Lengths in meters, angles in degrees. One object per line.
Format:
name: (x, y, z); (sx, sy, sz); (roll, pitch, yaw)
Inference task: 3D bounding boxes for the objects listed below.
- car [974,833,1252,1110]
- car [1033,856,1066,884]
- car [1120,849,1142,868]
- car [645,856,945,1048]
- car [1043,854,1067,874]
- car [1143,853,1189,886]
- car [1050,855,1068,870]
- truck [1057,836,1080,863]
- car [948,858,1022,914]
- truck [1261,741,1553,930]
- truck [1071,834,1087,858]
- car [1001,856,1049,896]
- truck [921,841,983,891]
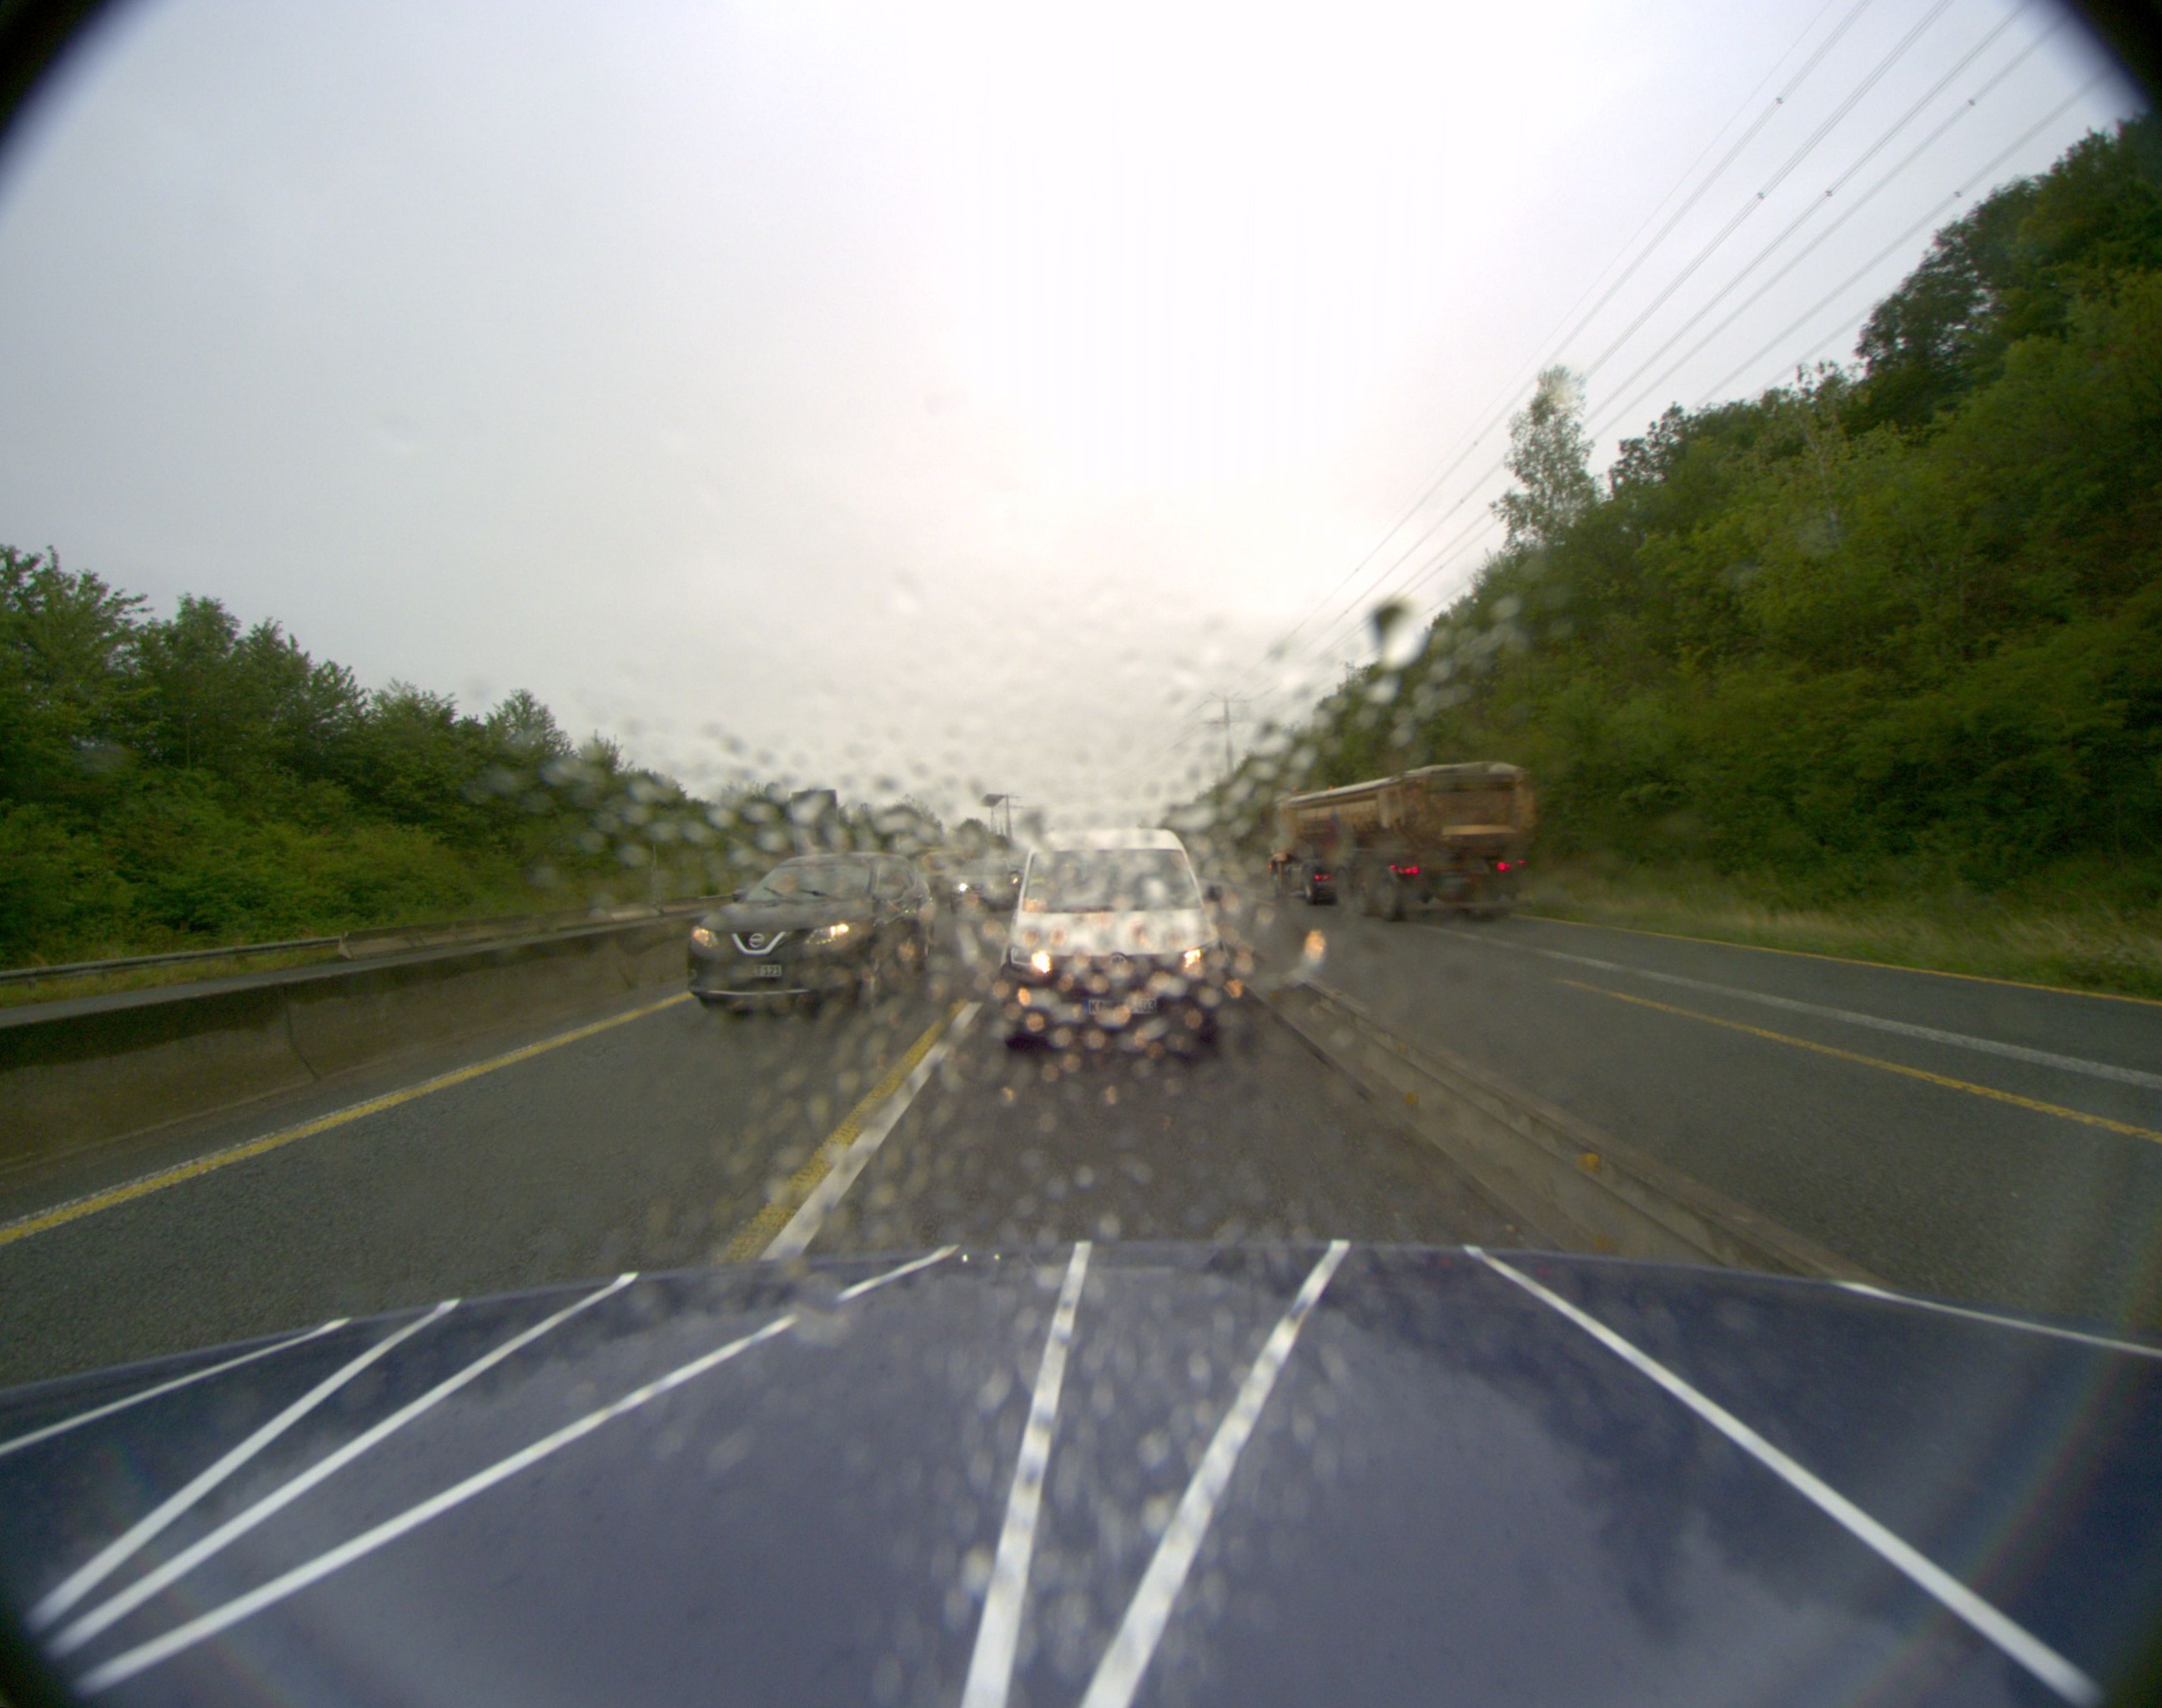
car: (0.212, 0.755, 7.376); (1.784, 1.775, 4.697); (-2, 1, 0)
car: (-1.844, 0.913, 45.586); (1.784, 1.482, 4.123); (-2, 1, 0)
car: (4.981, 0.420, 76.330); (1.815, 1.813, 4.634); (-2, 1, -1)
car: (-3.079, 0.922, 9.398); (1.894, 1.665, 4.640); (-2, 1, 0)
car: (-2.152, 0.821, 64.103); (1.784, 1.482, 4.123); (-2, 1, 0)
car: (3.991, 0.688, 36.197); (1.690, 1.401, 3.929); (-2, 1, -1)
car: (-2.255, 0.868, 78.758); (1.784, 1.482, 4.123); (-2, 1, 0)
truck: (-1.677, -0.663, 105.111); (2.619, 3.404, 9.575); (-2, 1, 2)
car: (-2.915, 0.935, 23.901); (1.784, 1.482, 4.123); (-2, 1, 0)
truck: (7.311, -0.394, 19.728); (2.541, 3.333, 12.049); (-2, 1, 1)
truck: (-0.350, -1.415, 134.096); (2.619, 3.869, 9.574); (-2, 1, 0)
car: (-2.445, 0.932, 34.193); (1.784, 1.589, 4.123); (-2, 1, 0)
truck: (-9.654, 0.770, 57.806); (2.619, 3.404, 9.576); (-2, 1, 2)
